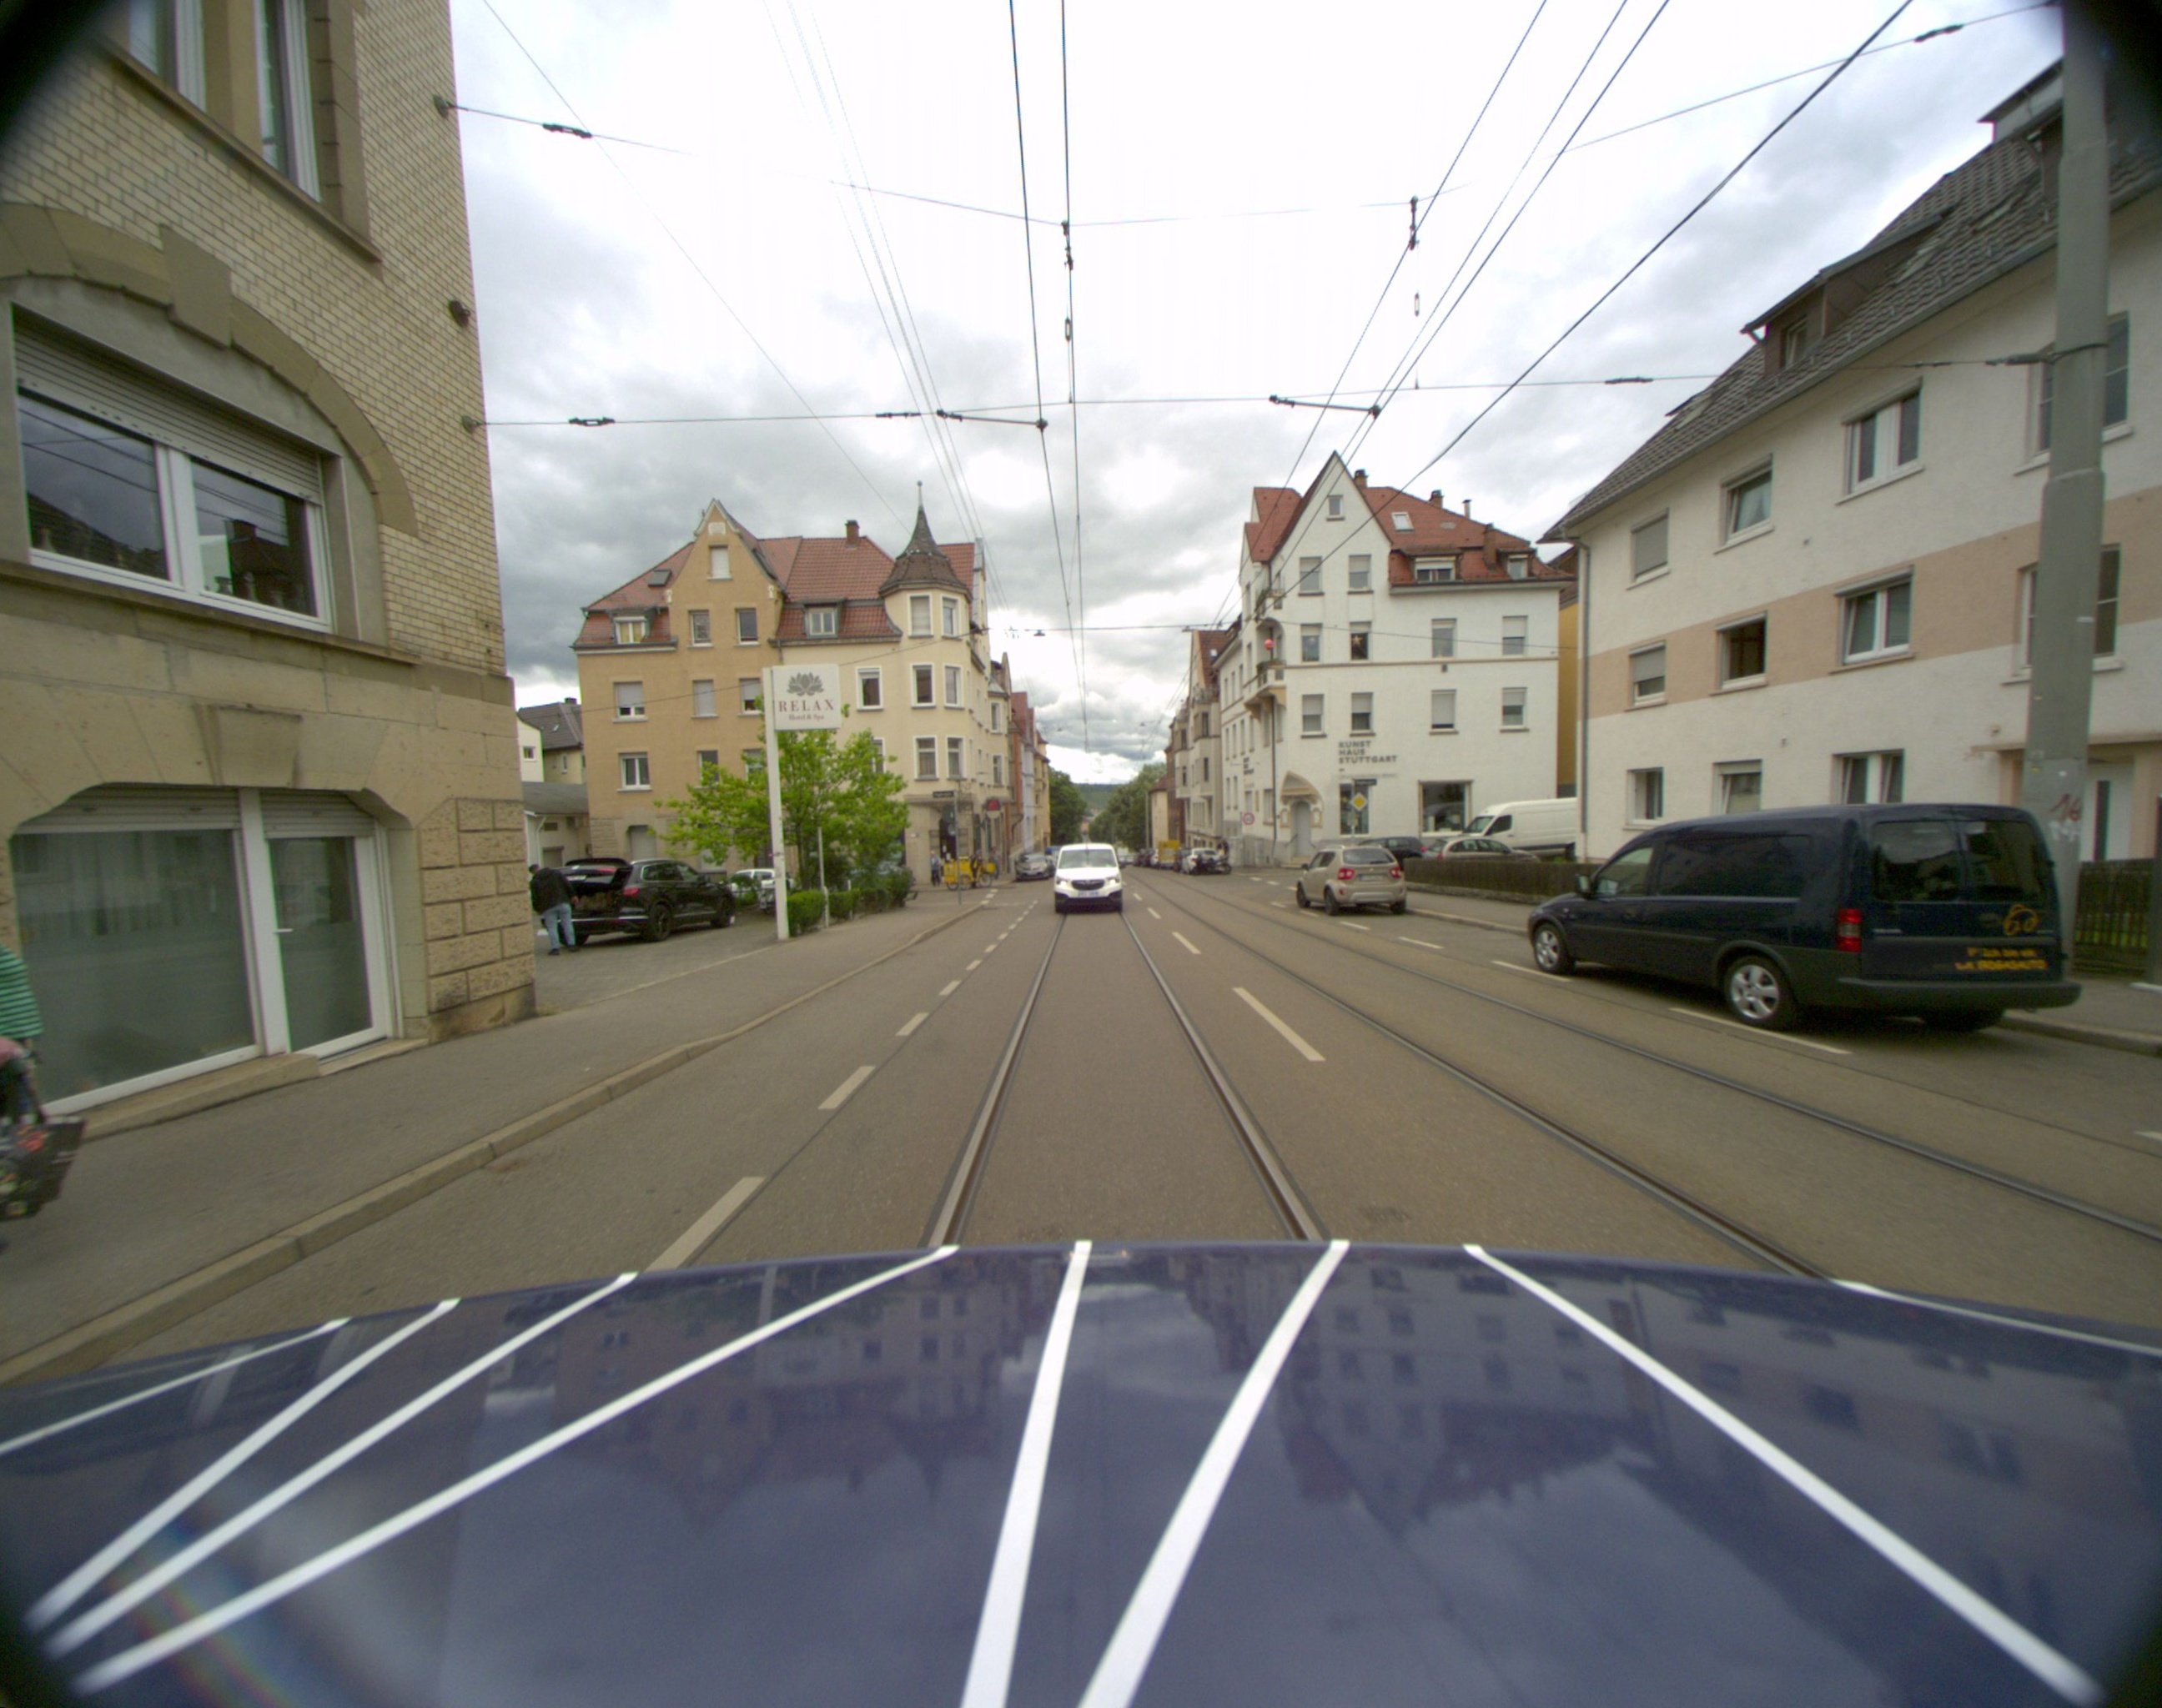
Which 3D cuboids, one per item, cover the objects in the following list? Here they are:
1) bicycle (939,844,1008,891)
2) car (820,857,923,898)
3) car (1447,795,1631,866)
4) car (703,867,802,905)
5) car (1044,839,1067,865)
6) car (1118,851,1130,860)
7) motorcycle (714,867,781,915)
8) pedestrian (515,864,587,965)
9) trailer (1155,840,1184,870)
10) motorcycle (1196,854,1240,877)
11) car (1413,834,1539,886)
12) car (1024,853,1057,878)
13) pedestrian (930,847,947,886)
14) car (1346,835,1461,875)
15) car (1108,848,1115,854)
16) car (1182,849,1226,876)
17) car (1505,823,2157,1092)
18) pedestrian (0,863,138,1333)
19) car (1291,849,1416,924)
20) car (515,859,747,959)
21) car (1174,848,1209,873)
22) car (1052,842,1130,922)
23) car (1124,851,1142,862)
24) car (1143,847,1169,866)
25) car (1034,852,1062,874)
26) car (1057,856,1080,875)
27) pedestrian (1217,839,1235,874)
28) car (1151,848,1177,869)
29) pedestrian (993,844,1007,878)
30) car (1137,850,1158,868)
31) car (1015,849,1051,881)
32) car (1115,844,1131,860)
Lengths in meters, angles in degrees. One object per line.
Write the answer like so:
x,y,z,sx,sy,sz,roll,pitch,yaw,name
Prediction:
-4.625,0.554,32.834,1.179,1.856,2.733,-2,2,42,bicycle
-8.845,0.981,32.241,3.857,1.455,1.580,-3,1,-1,car
18.922,-0.955,31.614,6.207,2.517,2.191,-3,1,2,car
-13.977,1.347,32.450,3.442,1.381,1.580,-3,1,-1,car
-2.499,-0.222,75.903,1.998,2.363,5.055,-2,1,0,car
6.676,0.271,118.782,1.723,1.394,4.313,1,0,0,car
-9.988,1.089,22.873,0.929,1.099,2.382,-3,5,-1,motorcycle
-9.409,1.056,13.516,0.646,1.697,0.767,-2,1,1,pedestrian
6.652,0.090,57.364,1.753,2.143,4.071,0,0,1,trailer
6.856,0.565,38.066,2.111,1.127,0.767,0,0,14,motorcycle
13.806,0.188,26.701,3.523,1.485,1.775,-3,6,1,car
-2.520,0.668,47.781,1.784,1.382,4.691,-4,0,-1,car
-6.427,0.560,34.278,0.483,1.757,0.493,-2,1,34,pedestrian
13.438,0.026,31.820,3.997,1.455,1.754,-3,1,2,car
8.124,-0.847,204.027,1.856,1.532,3.948,-2,0,0,car
6.590,0.430,41.128,1.784,1.349,4.291,-2,0,2,car
6.064,0.650,7.140,1.748,1.726,4.519,0,0,2,car
-4.320,0.878,2.766,0.873,1.676,0.663,0,1,-6,pedestrian
6.404,0.693,18.321,1.701,1.547,3.850,-2,0,2,car
-9.352,1.029,16.450,1.999,1.673,5.094,-2,0,-1,car
6.651,0.385,46.000,1.701,1.460,3.023,0,1,1,car
0.296,0.650,20.077,1.759,1.824,4.448,-2,0,2,car
6.863,0.363,100.716,1.832,1.420,4.627,2,0,-2,car
6.632,0.224,67.766,1.878,1.654,4.892,0,0,1,car
-2.329,0.627,53.915,1.754,1.382,4.307,-4,0,-1,car
-1.061,0.988,67.116,1.784,1.466,4.589,-4,0,0,car
8.061,0.124,42.213,0.590,1.895,0.811,-7,1,0,pedestrian
6.682,0.350,61.536,1.701,1.584,4.268,0,0,1,car
-4.328,0.352,40.547,0.600,1.793,0.631,-2,1,0,pedestrian
6.617,0.489,76.111,1.832,1.708,4.913,0,0,1,car
-2.619,0.575,42.360,1.739,1.528,4.573,-4,0,-2,car
7.155,-0.288,128.822,2.164,2.591,6.218,1,0,-1,car
